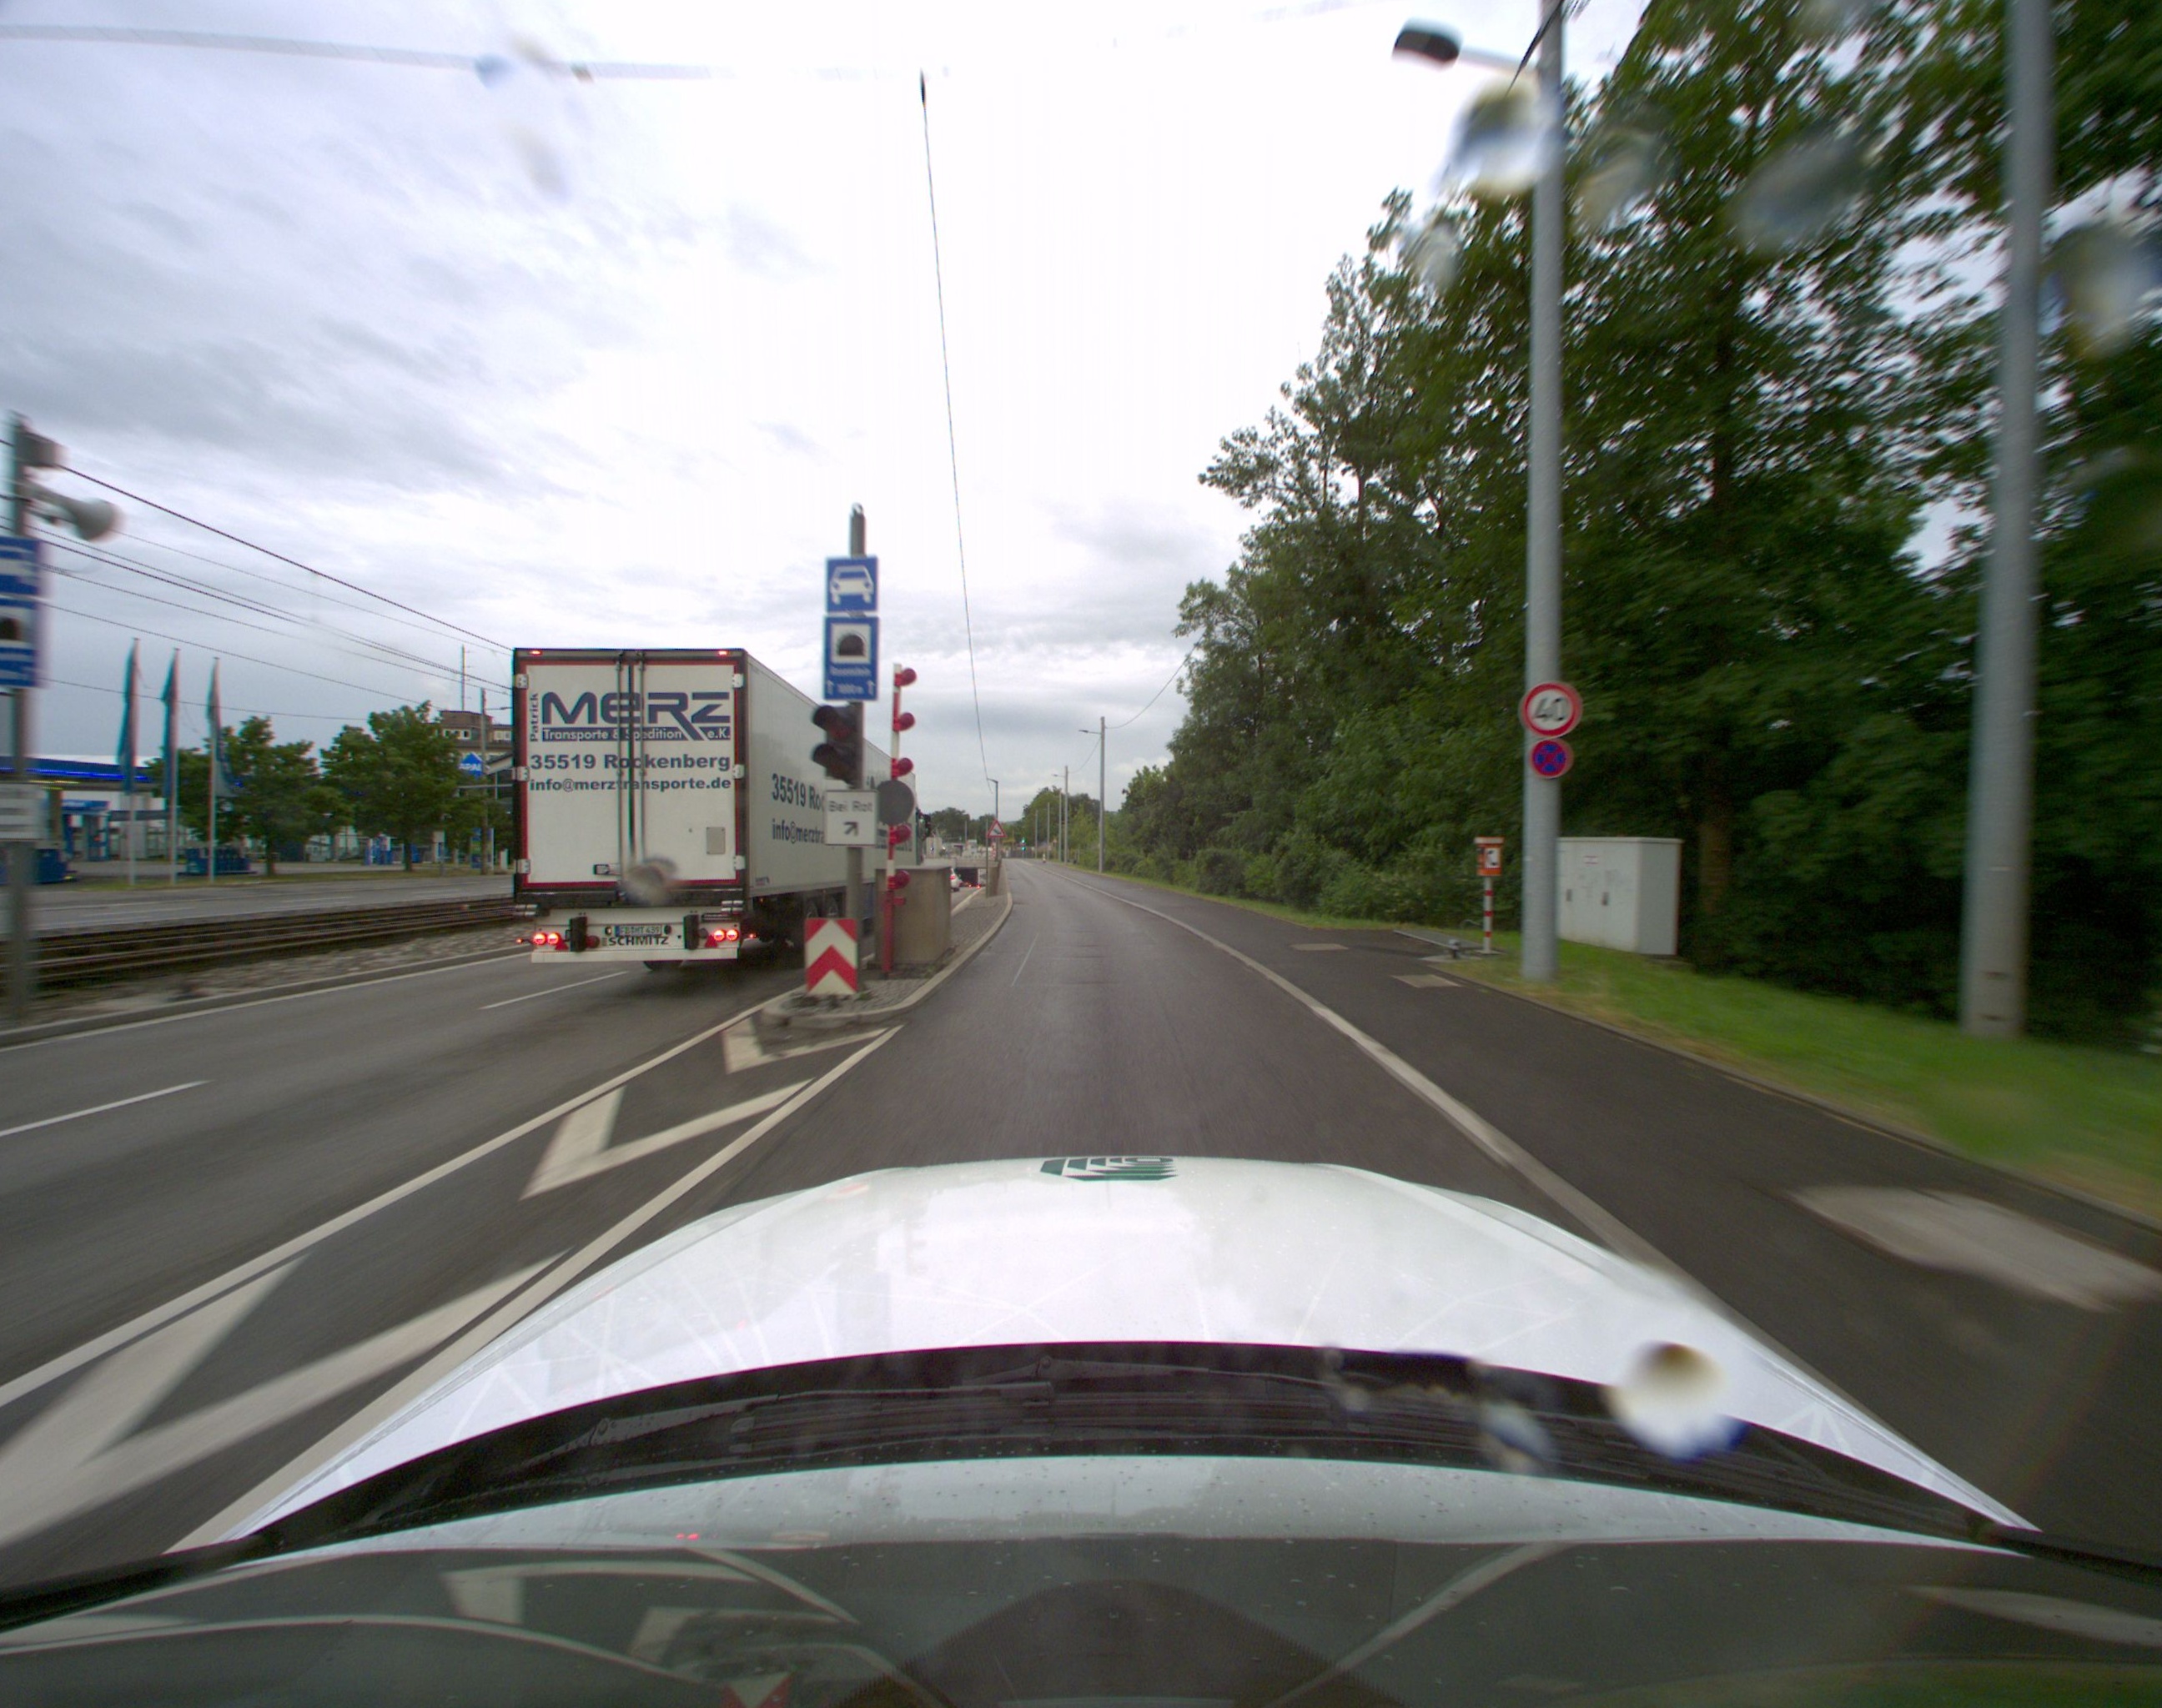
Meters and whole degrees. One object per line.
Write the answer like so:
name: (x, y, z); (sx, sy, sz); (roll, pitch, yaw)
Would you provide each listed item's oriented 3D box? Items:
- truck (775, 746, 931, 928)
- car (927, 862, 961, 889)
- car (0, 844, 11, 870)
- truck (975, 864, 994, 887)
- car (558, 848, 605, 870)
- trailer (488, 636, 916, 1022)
truck: (-5.937, -0.434, 22.305); (2.751, 4.204, 6.297); (-1, 0, -4)
car: (-8.455, 1.299, 50.492); (1.807, 1.423, 3.993); (-1, 2, -6)
car: (-70.295, 0.165, 50.943); (3.979, 1.640, 1.854); (0, 0, -4)
truck: (-18.356, 4.047, 155.268); (3.513, 4.040, 8.058); (-1, 0, -6)
car: (-44.408, 0.478, 72.519); (1.758, 1.610, 4.060); (1, -6, -4)
trailer: (-5.536, -0.343, 15.687); (2.757, 4.252, 13.165); (-1, 0, -4)
